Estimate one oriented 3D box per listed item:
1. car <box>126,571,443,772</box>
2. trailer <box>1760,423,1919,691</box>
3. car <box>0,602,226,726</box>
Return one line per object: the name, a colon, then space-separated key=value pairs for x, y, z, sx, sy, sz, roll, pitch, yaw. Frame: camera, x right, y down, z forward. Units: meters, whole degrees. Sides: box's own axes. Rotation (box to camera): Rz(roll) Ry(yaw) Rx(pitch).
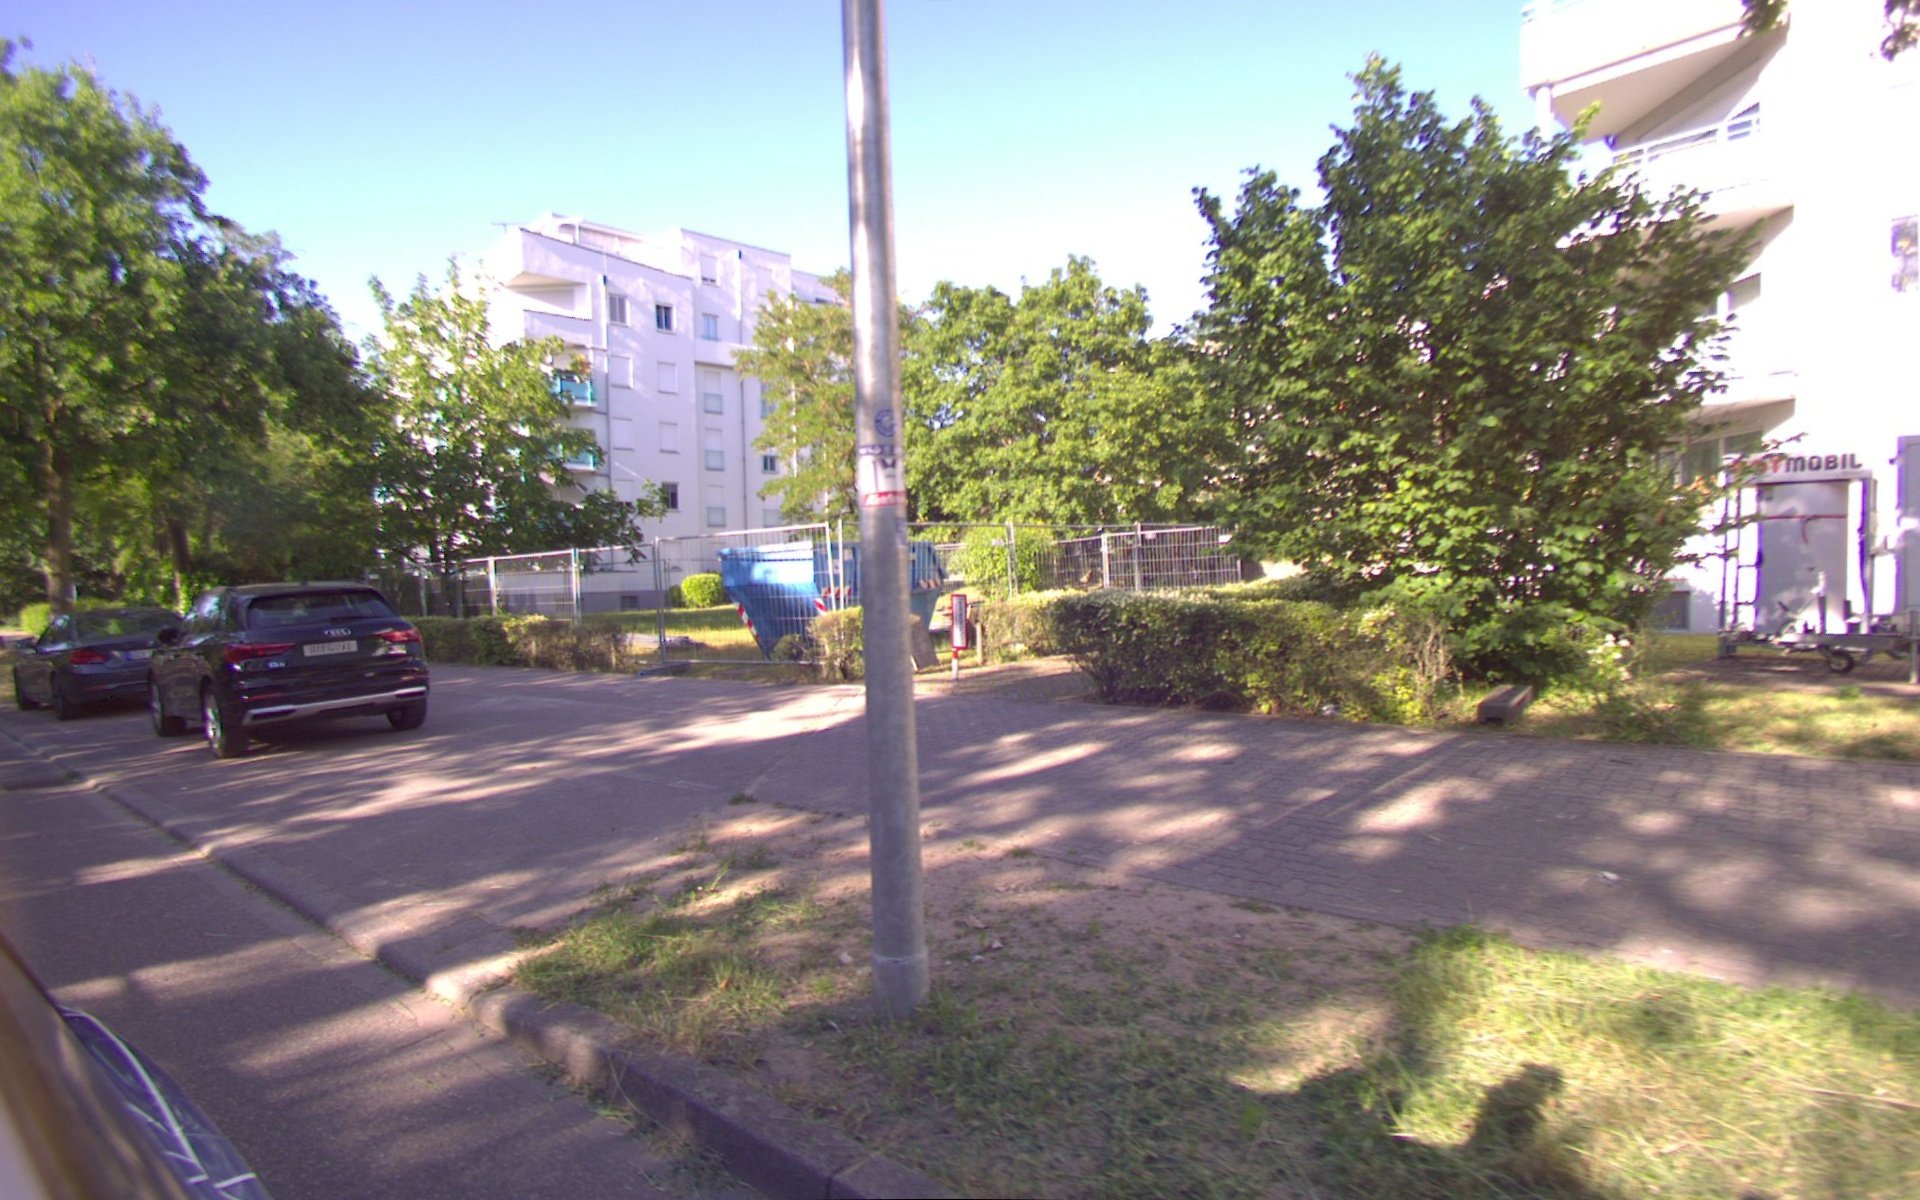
car: x=-7.251 y=0.624 z=10.685 sx=4.220 sy=1.633 sz=1.757 roll=-1 pitch=3 yaw=43
trailer: x=9.131 y=-0.412 z=7.870 sx=1.843 sy=2.136 sz=4.349 roll=-5 pitch=3 yaw=-44
car: x=-12.354 y=0.851 z=14.636 sx=4.132 sy=1.443 sz=1.700 roll=-2 pitch=3 yaw=38
